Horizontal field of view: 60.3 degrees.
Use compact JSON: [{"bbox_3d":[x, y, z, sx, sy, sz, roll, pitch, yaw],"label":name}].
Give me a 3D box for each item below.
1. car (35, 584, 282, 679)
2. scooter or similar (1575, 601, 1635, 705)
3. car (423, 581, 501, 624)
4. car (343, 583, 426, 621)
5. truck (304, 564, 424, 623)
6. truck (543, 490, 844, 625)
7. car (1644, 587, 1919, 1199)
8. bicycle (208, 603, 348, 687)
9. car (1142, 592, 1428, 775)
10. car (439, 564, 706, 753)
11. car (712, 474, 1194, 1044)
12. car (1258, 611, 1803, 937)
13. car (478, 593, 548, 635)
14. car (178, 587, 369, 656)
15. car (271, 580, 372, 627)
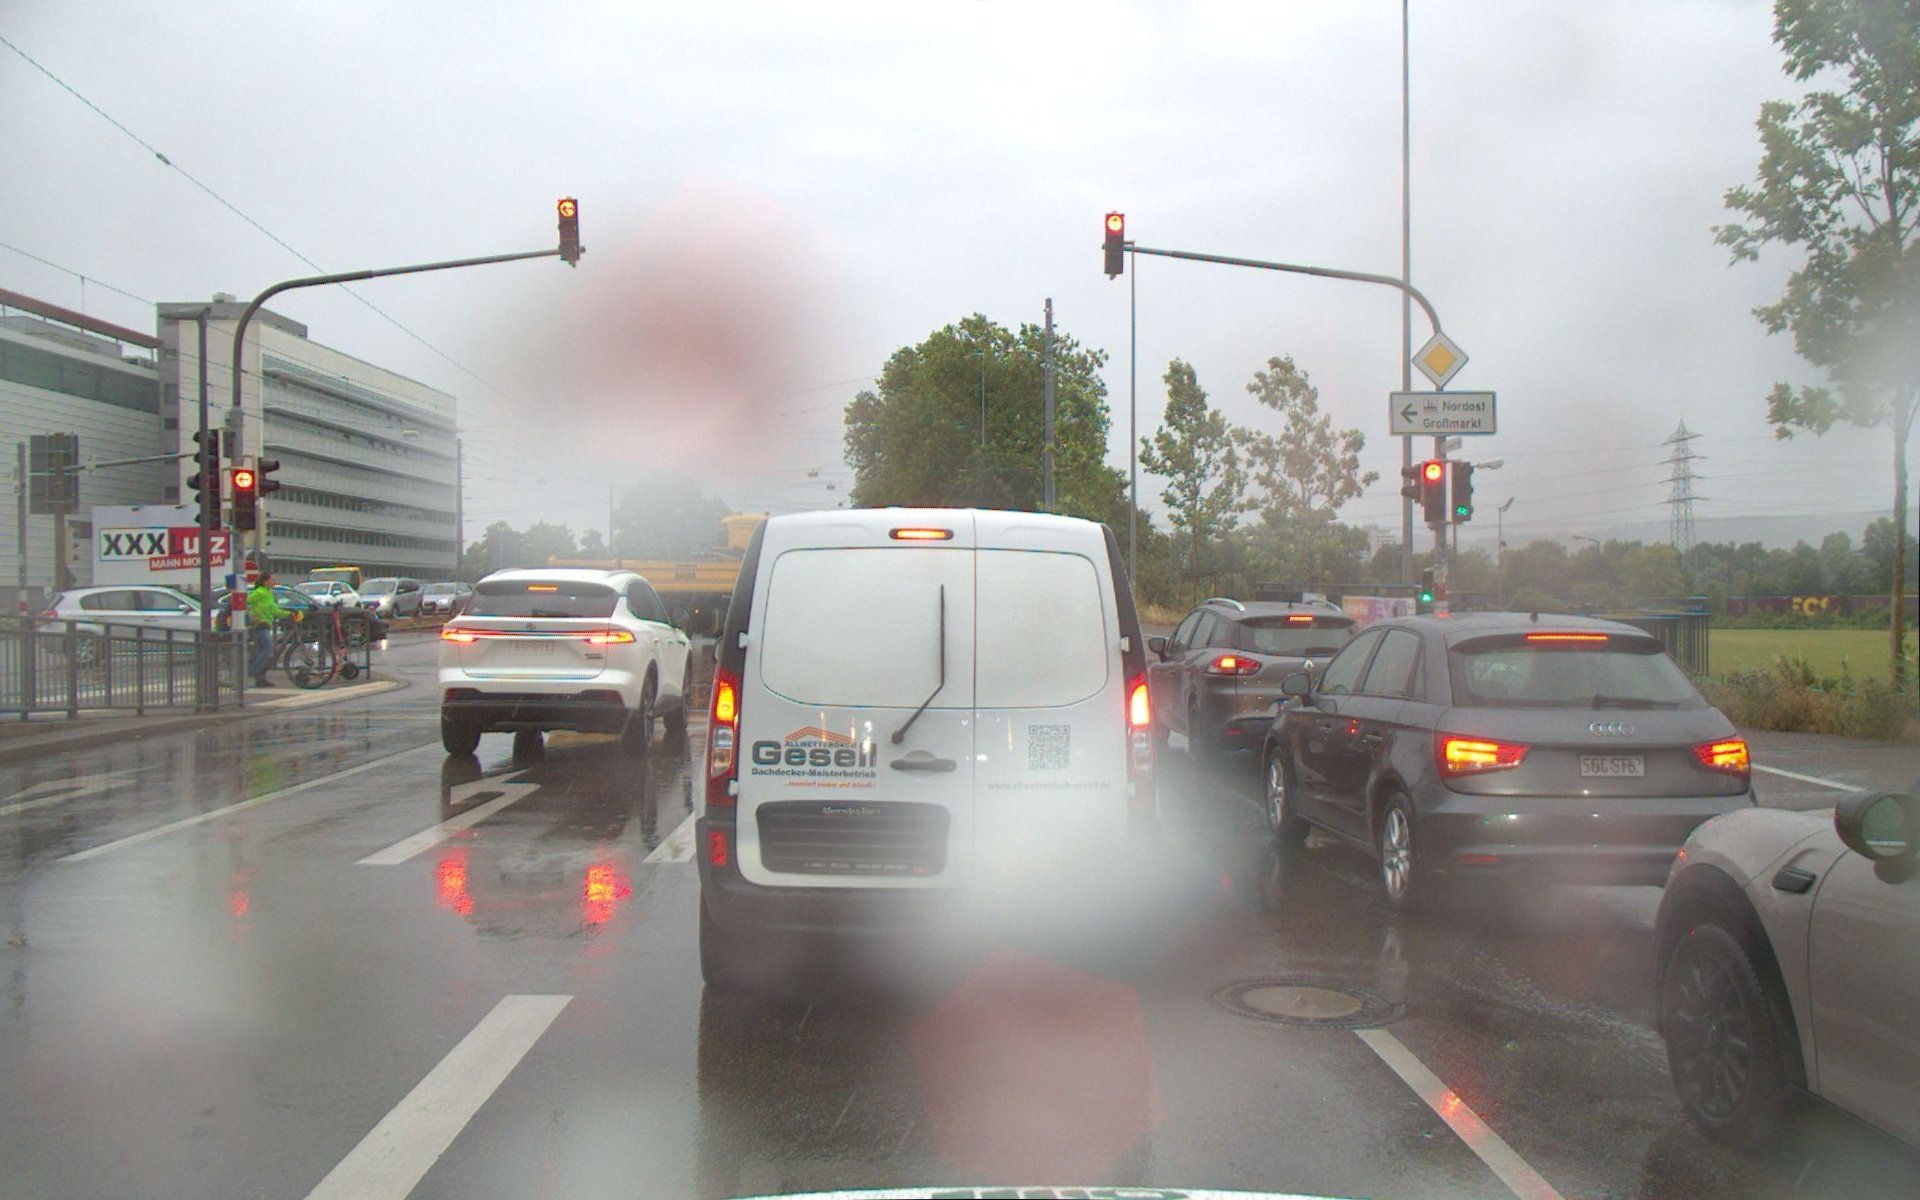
[{"bbox_3d":[-14.940,0.597,31.065,4.010,1.689,1.609,1,0,-22],"label":"car"},{"bbox_3d":[7.605,0.609,19.519,0.240,1.178,1.186,1,0,1],"label":"scooter or similar"},{"bbox_3d":[-21.051,0.099,70.041,1.853,1.729,4.001,1,0,3],"label":"car"},{"bbox_3d":[-21.697,0.095,62.447,1.554,1.359,3.832,1,-1,4],"label":"car"},{"bbox_3d":[-25.027,-0.248,69.835,2.303,2.319,7.632,1,0,0],"label":"truck"},{"bbox_3d":[-6.069,-0.870,38.734,2.590,2.865,7.112,0,0,38],"label":"truck"},{"bbox_3d":[2.982,0.755,3.241,1.679,1.534,3.622,1,0,-2],"label":"car"},{"bbox_3d":[-9.586,0.632,23.285,1.716,1.052,0.414,4,-1,-3],"label":"bicycle"},{"bbox_3d":[2.896,0.684,15.562,1.822,1.453,3.806,1,1,-2],"label":"car"},{"bbox_3d":[-3.595,0.470,16.099,1.694,1.562,4.296,1,1,-2],"label":"car"},{"bbox_3d":[-0.046,0.514,7.306,1.534,1.819,3.999,0,0,-1],"label":"car"},{"bbox_3d":[2.800,0.767,8.962,1.596,1.368,3.622,1,0,-2],"label":"car"},{"bbox_3d":[-20.794,0.634,77.113,1.889,1.859,4.002,1,0,4],"label":"car"},{"bbox_3d":[-15.189,0.478,36.795,3.670,1.435,1.833,1,0,-15],"label":"car"},{"bbox_3d":[-21.699,0.140,56.360,1.662,1.518,3.878,1,0,5],"label":"car"}]
